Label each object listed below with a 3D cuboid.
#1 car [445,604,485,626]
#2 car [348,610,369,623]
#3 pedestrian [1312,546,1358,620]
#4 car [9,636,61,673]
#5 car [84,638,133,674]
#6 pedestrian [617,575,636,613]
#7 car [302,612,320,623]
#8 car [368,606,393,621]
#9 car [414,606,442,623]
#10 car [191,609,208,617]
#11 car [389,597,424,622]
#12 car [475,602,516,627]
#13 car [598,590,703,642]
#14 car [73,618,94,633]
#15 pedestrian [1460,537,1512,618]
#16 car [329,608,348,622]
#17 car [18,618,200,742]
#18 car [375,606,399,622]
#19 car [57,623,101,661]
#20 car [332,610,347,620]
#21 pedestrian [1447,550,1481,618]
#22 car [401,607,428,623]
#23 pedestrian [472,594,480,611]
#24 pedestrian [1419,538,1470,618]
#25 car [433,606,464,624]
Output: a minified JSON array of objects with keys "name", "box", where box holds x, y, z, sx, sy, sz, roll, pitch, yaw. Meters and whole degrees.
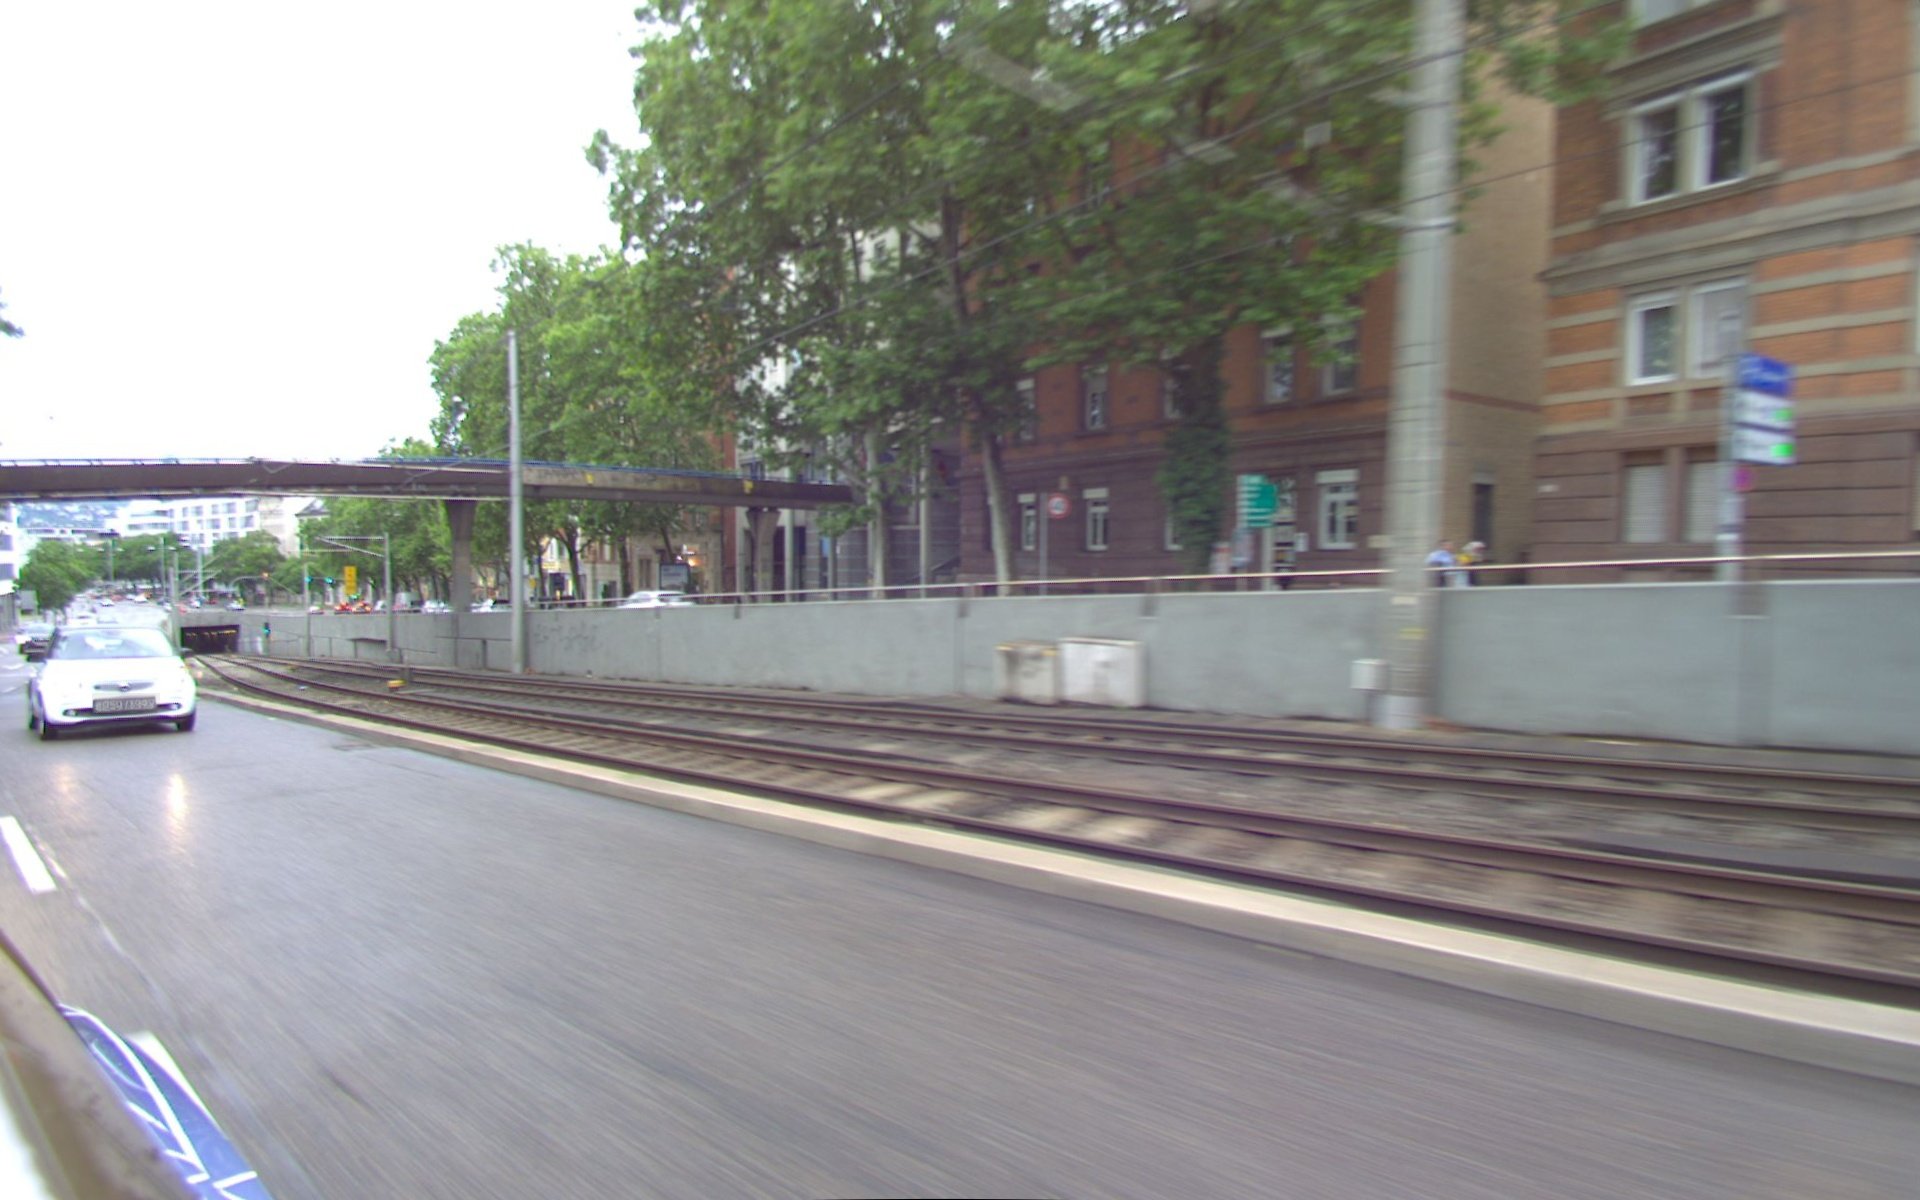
[{"name":"car","box":[-39.906,1.176,81.462,1.902,1.613,5.211,-4,2,-36]},{"name":"car","box":[-73.520,2.015,123.685,1.771,1.521,4.117,-4,2,-36]},{"name":"pedestrian","box":[8.493,-0.366,22.931,0.585,1.637,0.725,0,-2,-30]},{"name":"car","box":[-51.678,3.023,56.619,1.772,1.678,4.008,-5,3,-38]},{"name":"car","box":[-45.272,2.933,53.847,1.772,1.521,4.008,-5,3,-38]},{"name":"pedestrian","box":[-18.414,-0.350,55.904,0.660,2.028,0.937,-4,3,-34]},{"name":"car","box":[-91.541,2.470,142.716,1.771,1.521,4.008,-4,2,-38]},{"name":"car","box":[-74.960,1.775,130.831,1.854,1.777,4.909,-4,2,-40]},{"name":"car","box":[-52.089,1.420,99.045,1.771,1.582,4.218,-4,2,-36]},{"name":"car","box":[-154.417,2.612,205.431,4.819,1.521,1.827,-2,2,41]},{"name":"car","box":[-62.297,1.081,113.854,2.421,2.682,6.947,-4,2,-36]},{"name":"car","box":[-33.134,1.029,72.102,1.771,1.623,4.121,-4,2,-37]},{"name":"car","box":[-11.028,0.566,35.905,1.773,1.623,4.364,-4,2,-42]},{"name":"car","box":[-104.870,3.043,121.106,1.773,1.521,4.006,-5,3,-41]},{"name":"pedestrian","box":[11.023,-0.455,21.206,0.585,1.637,0.725,0,-2,-30]},{"name":"car","box":[-90.118,2.183,146.764,1.930,1.866,4.980,-4,2,-35]},{"name":"car","box":[-12.473,1.126,14.755,1.773,1.549,4.003,0,-4,-44]},{"name":"car","box":[-69.156,1.679,122.177,1.853,1.777,4.912,-4,2,-36]},{"name":"car","box":[-55.296,2.608,63.545,1.772,2.047,4.008,-5,3,-38]},{"name":"car","box":[-107.357,2.557,175.079,1.822,1.521,4.027,-4,2,-34]},{"name":"pedestrian","box":[10.163,-0.323,20.423,0.330,1.344,0.504,1,-2,-45]},{"name":"car","box":[-57.658,1.567,106.949,1.771,1.521,4.682,-4,2,-36]},{"name":"pedestrian","box":[-49.905,0.252,104.333,0.516,1.760,0.623,-6,3,-29]},{"name":"pedestrian","box":[10.163,-0.441,21.241,0.585,1.637,0.725,0,-2,-30]},{"name":"car","box":[-45.759,1.332,90.523,1.771,1.521,4.218,-4,2,-36]}]
